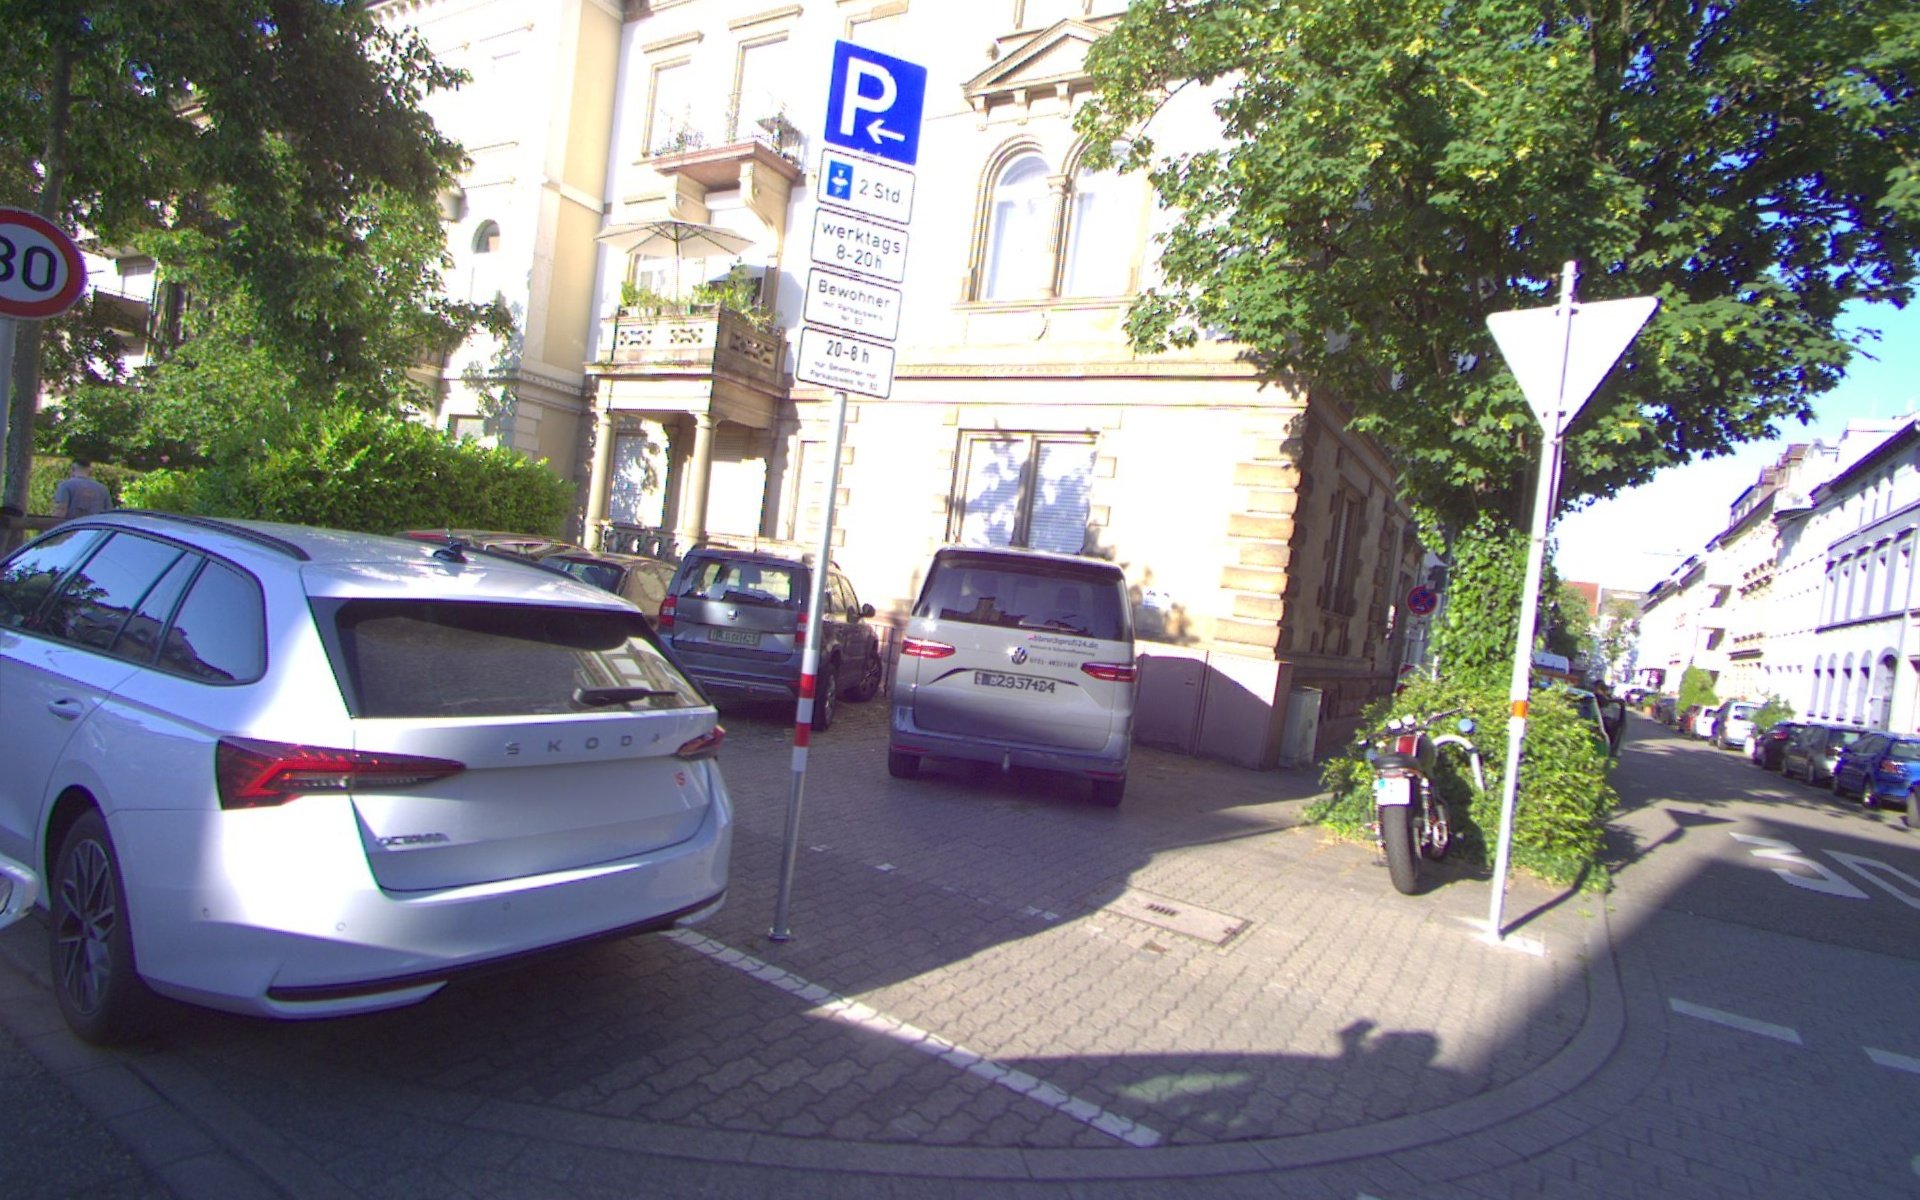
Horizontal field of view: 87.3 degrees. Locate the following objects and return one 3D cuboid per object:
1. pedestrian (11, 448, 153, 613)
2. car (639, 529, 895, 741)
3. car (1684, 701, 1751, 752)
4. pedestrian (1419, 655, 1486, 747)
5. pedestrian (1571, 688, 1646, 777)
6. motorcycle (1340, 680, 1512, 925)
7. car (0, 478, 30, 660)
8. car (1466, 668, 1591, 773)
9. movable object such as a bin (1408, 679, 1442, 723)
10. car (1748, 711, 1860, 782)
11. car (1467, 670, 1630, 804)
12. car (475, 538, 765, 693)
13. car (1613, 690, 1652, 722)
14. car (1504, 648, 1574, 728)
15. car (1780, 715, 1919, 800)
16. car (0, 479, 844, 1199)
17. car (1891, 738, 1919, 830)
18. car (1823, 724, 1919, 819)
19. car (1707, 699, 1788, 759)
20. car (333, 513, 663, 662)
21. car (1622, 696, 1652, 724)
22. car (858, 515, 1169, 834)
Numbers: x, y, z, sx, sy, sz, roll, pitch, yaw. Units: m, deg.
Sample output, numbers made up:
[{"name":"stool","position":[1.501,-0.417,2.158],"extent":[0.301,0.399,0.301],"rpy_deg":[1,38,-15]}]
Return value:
[{"name":"pedestrian","position":[-10.471,-0.816,12.006],"extent":[1.070,1.796,0.822],"rpy_deg":[7,1,27]},{"name":"car","position":[-1.896,0.310,11.199],"extent":[1.754,1.721,4.098],"rpy_deg":[7,1,2]},{"name":"car","position":[32.021,5.305,42.612],"extent":[1.710,1.770,3.991],"rpy_deg":[7,0,32]},{"name":"pedestrian","position":[9.756,1.991,19.950],"extent":[0.549,1.664,0.951],"rpy_deg":[7,1,-11]},{"name":"pedestrian","position":[12.401,2.505,19.288],"extent":[0.996,1.509,1.229],"rpy_deg":[7,1,31]},{"name":"motorcycle","position":[3.103,1.250,6.901],"extent":[0.775,1.255,2.162],"rpy_deg":[7,0,21]},{"name":"car","position":[-9.890,-0.510,8.517],"extent":[4.537,1.439,1.758],"rpy_deg":[7,2,31]},{"name":"car","position":[11.240,2.297,19.956],"extent":[1.742,1.559,3.994],"rpy_deg":[10,1,30]},{"name":"movable object such as a bin","position":[11.472,2.495,24.816],"extent":[0.592,0.989,0.507],"rpy_deg":[8,1,31]},{"name":"car","position":[23.177,3.968,27.775],"extent":[1.711,1.472,3.991],"rpy_deg":[6,-1,32]},{"name":"car","position":[9.136,2.022,15.754],"extent":[1.742,1.502,3.994],"rpy_deg":[10,1,30]},{"name":"car","position":[-4.060,0.142,12.820],"extent":[1.684,1.460,4.098],"rpy_deg":[7,2,8]},{"name":"car","position":[50.681,7.983,75.829],"extent":[1.966,2.036,3.996],"rpy_deg":[7,-2,30]},{"name":"car","position":[22.903,3.452,39.741],"extent":[1.967,2.706,4.572],"rpy_deg":[7,0,31]},{"name":"car","position":[20.909,3.635,23.795],"extent":[1.711,1.472,3.991],"rpy_deg":[6,-1,32]},{"name":"car","position":[-2.892,0.396,4.092],"extent":[4.545,1.496,1.823],"rpy_deg":[7,0,32]},{"name":"car","position":[15.726,2.987,15.108],"extent":[1.711,1.376,3.991],"rpy_deg":[6,-1,32]},{"name":"car","position":[18.489,3.356,19.691],"extent":[1.711,1.472,3.991],"rpy_deg":[6,-1,32]},{"name":"car","position":[28.435,4.612,36.419],"extent":[1.710,1.770,3.991],"rpy_deg":[7,0,32]},{"name":"car","position":[-6.032,-0.151,13.783],"extent":[1.758,1.530,4.250],"rpy_deg":[7,2,13]},{"name":"car","position":[58.335,9.487,86.701],"extent":[1.735,2.036,3.995],"rpy_deg":[7,-2,32]},{"name":"car","position":[0.482,0.534,9.268],"extent":[1.884,1.923,4.940],"rpy_deg":[7,0,3]}]
